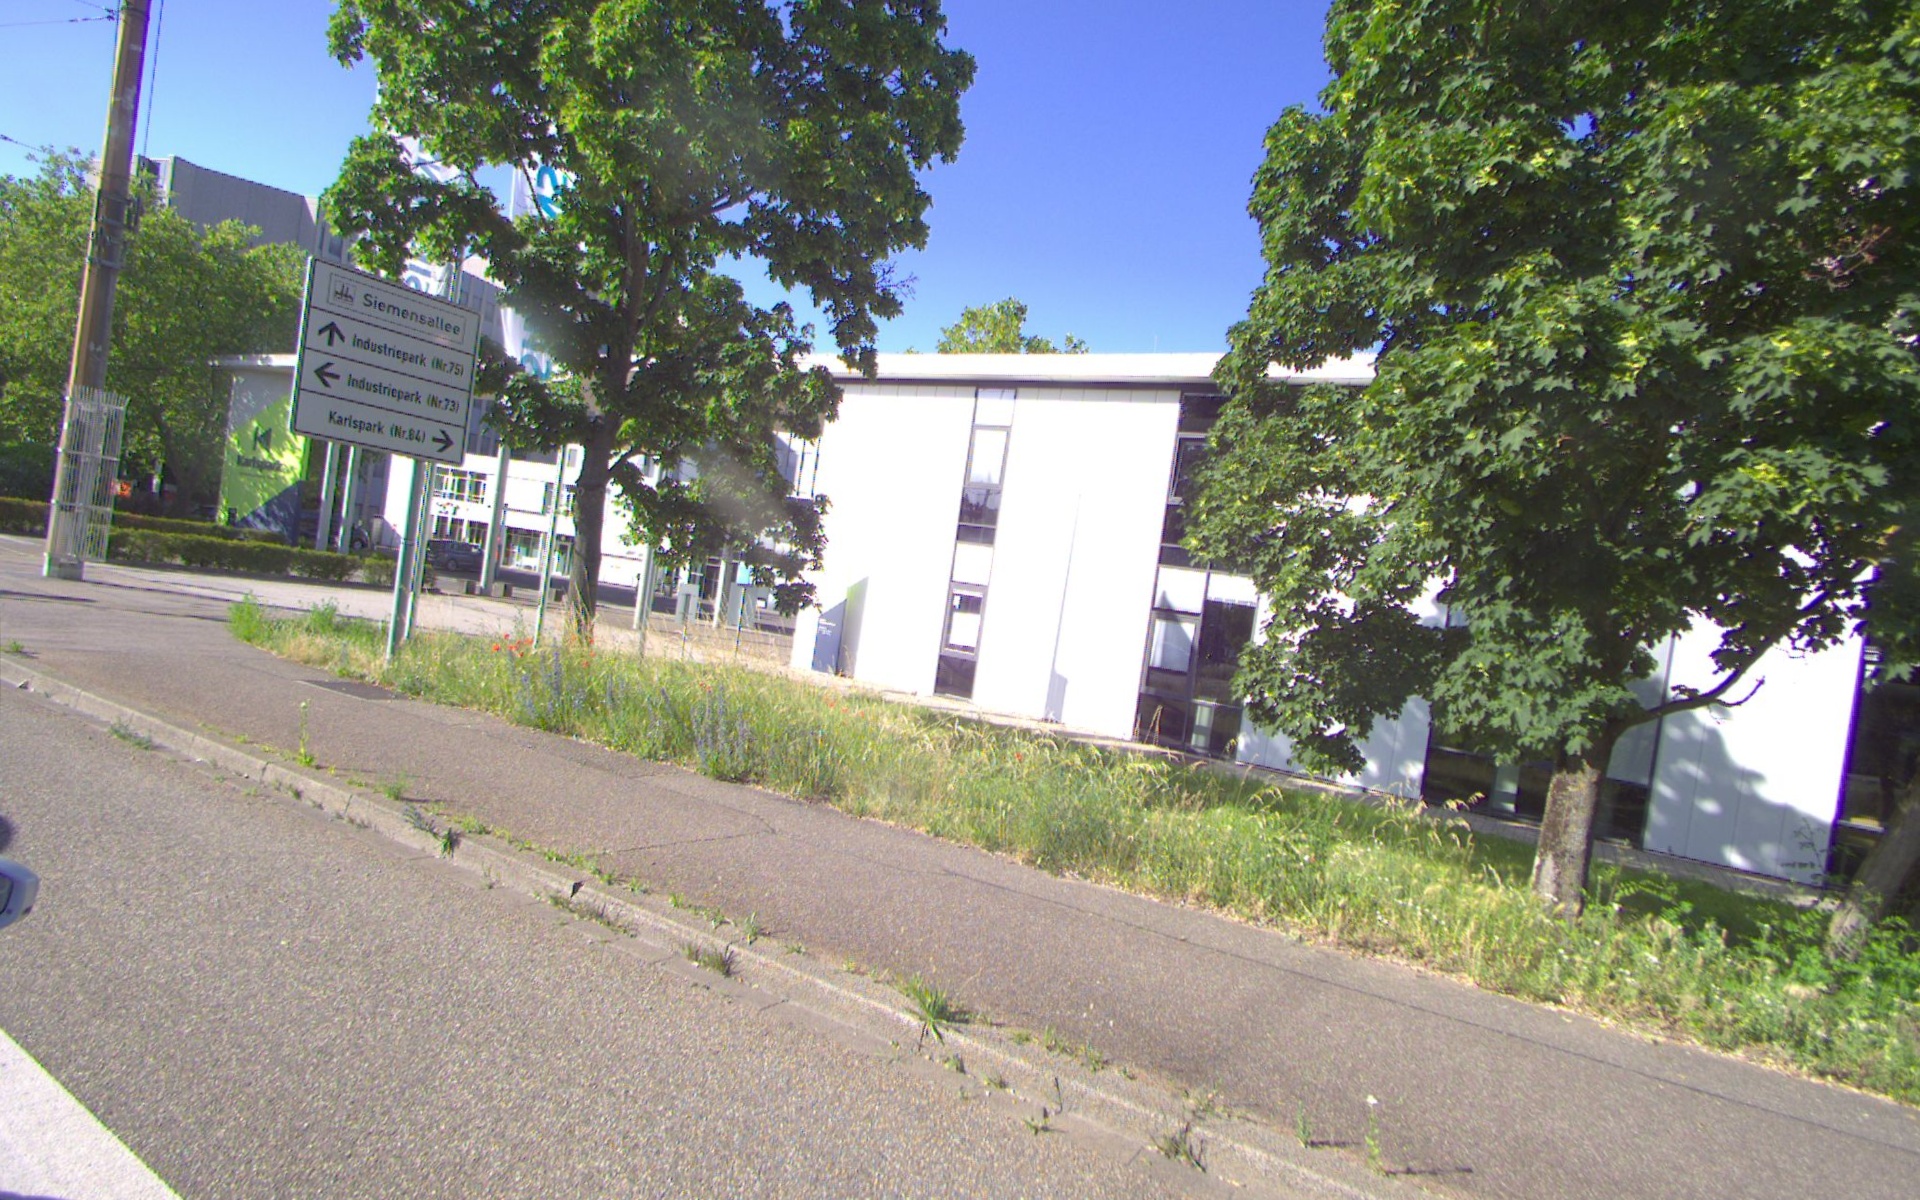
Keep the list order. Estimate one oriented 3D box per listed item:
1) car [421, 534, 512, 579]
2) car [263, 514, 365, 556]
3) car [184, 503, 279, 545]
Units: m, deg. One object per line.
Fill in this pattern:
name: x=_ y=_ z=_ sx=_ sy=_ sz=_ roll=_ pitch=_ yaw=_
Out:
car: x=-26.291 y=-2.283 z=53.713 sx=1.865 sy=1.741 sz=4.001 roll=8 pitch=-1 yaw=22
car: x=-36.217 y=-3.633 z=56.557 sx=1.841 sy=1.649 sz=4.553 roll=7 pitch=-1 yaw=19
car: x=-42.741 y=-4.430 z=59.104 sx=1.963 sy=1.778 sz=4.002 roll=7 pitch=-1 yaw=19
